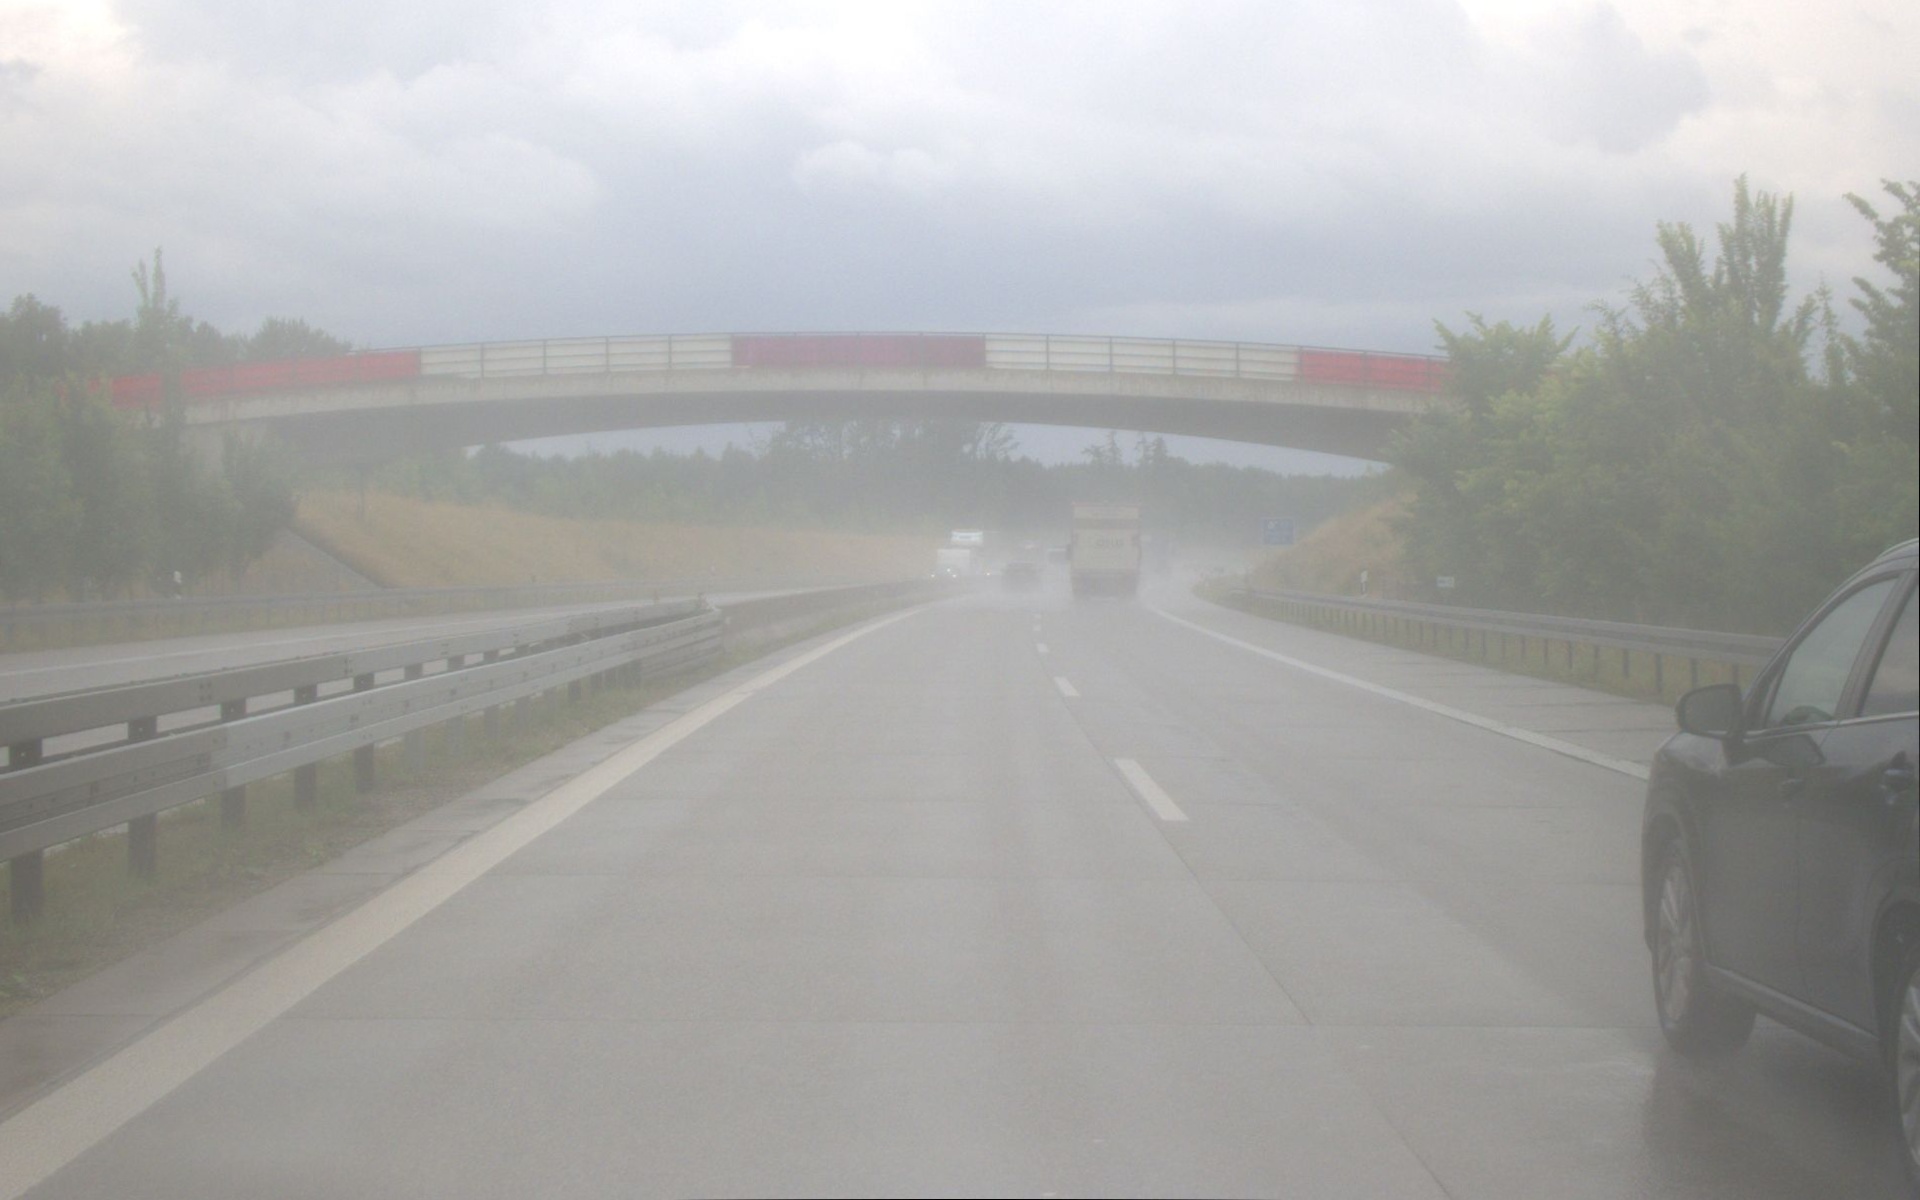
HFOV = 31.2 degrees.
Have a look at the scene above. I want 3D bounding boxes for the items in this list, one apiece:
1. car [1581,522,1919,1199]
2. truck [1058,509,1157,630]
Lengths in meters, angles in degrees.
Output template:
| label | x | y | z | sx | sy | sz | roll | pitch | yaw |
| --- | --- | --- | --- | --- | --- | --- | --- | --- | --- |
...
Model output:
| label | x | y | z | sx | sy | sz | roll | pitch | yaw |
| --- | --- | --- | --- | --- | --- | --- | --- | --- | --- |
| car | 3.003 | 0.591 | 9.658 | 1.894 | 1.570 | 3.632 | 1 | 1 | 1 |
| truck | 5.666 | -1.220 | 130.778 | 3.244 | 4.422 | 8.244 | 0 | 1 | 6 |
